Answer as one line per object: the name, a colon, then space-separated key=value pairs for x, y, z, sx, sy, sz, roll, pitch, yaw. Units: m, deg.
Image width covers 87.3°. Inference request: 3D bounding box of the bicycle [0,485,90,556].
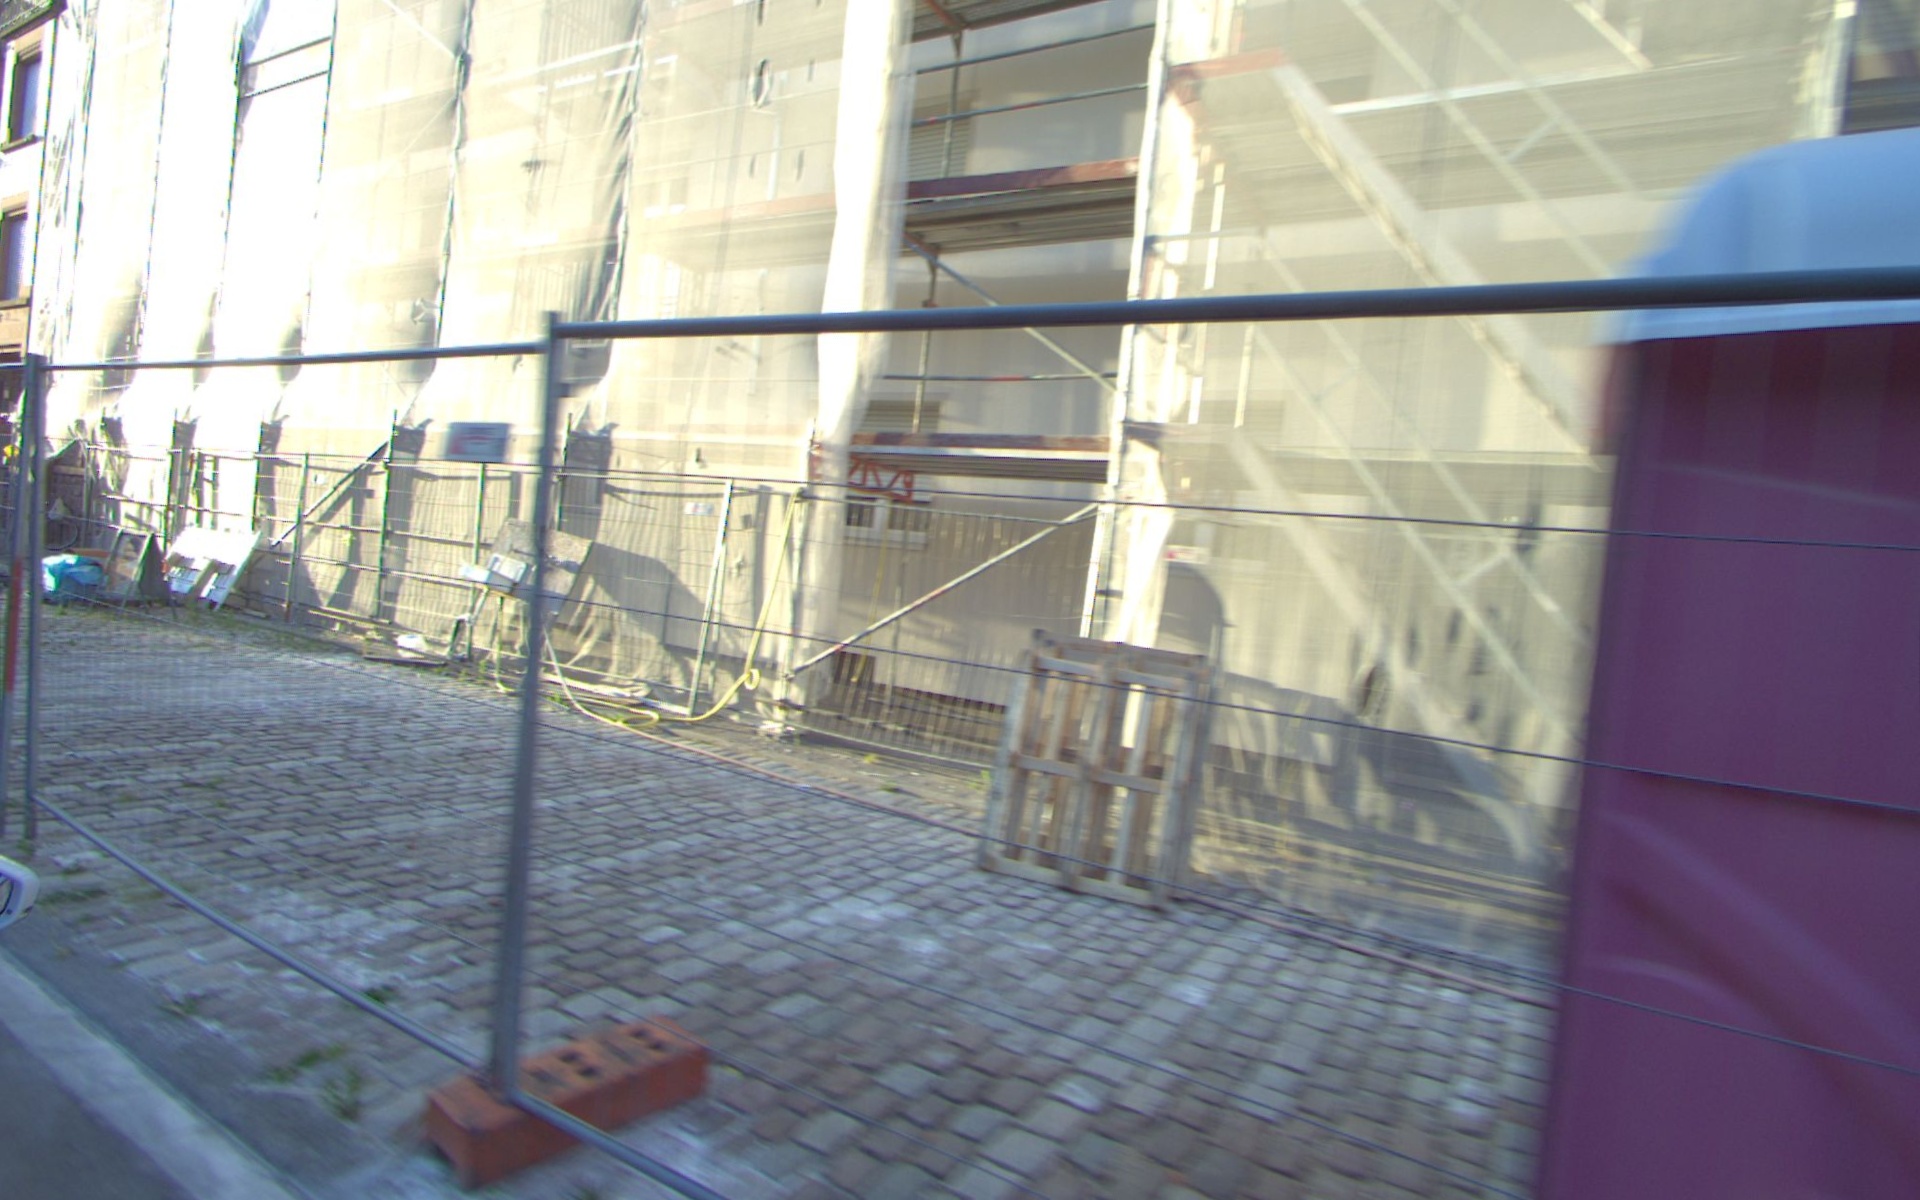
bicycle: x=-18.234 y=-1.578 z=19.963 sx=1.998 sy=1.183 sz=0.632 roll=7 pitch=1 yaw=25
